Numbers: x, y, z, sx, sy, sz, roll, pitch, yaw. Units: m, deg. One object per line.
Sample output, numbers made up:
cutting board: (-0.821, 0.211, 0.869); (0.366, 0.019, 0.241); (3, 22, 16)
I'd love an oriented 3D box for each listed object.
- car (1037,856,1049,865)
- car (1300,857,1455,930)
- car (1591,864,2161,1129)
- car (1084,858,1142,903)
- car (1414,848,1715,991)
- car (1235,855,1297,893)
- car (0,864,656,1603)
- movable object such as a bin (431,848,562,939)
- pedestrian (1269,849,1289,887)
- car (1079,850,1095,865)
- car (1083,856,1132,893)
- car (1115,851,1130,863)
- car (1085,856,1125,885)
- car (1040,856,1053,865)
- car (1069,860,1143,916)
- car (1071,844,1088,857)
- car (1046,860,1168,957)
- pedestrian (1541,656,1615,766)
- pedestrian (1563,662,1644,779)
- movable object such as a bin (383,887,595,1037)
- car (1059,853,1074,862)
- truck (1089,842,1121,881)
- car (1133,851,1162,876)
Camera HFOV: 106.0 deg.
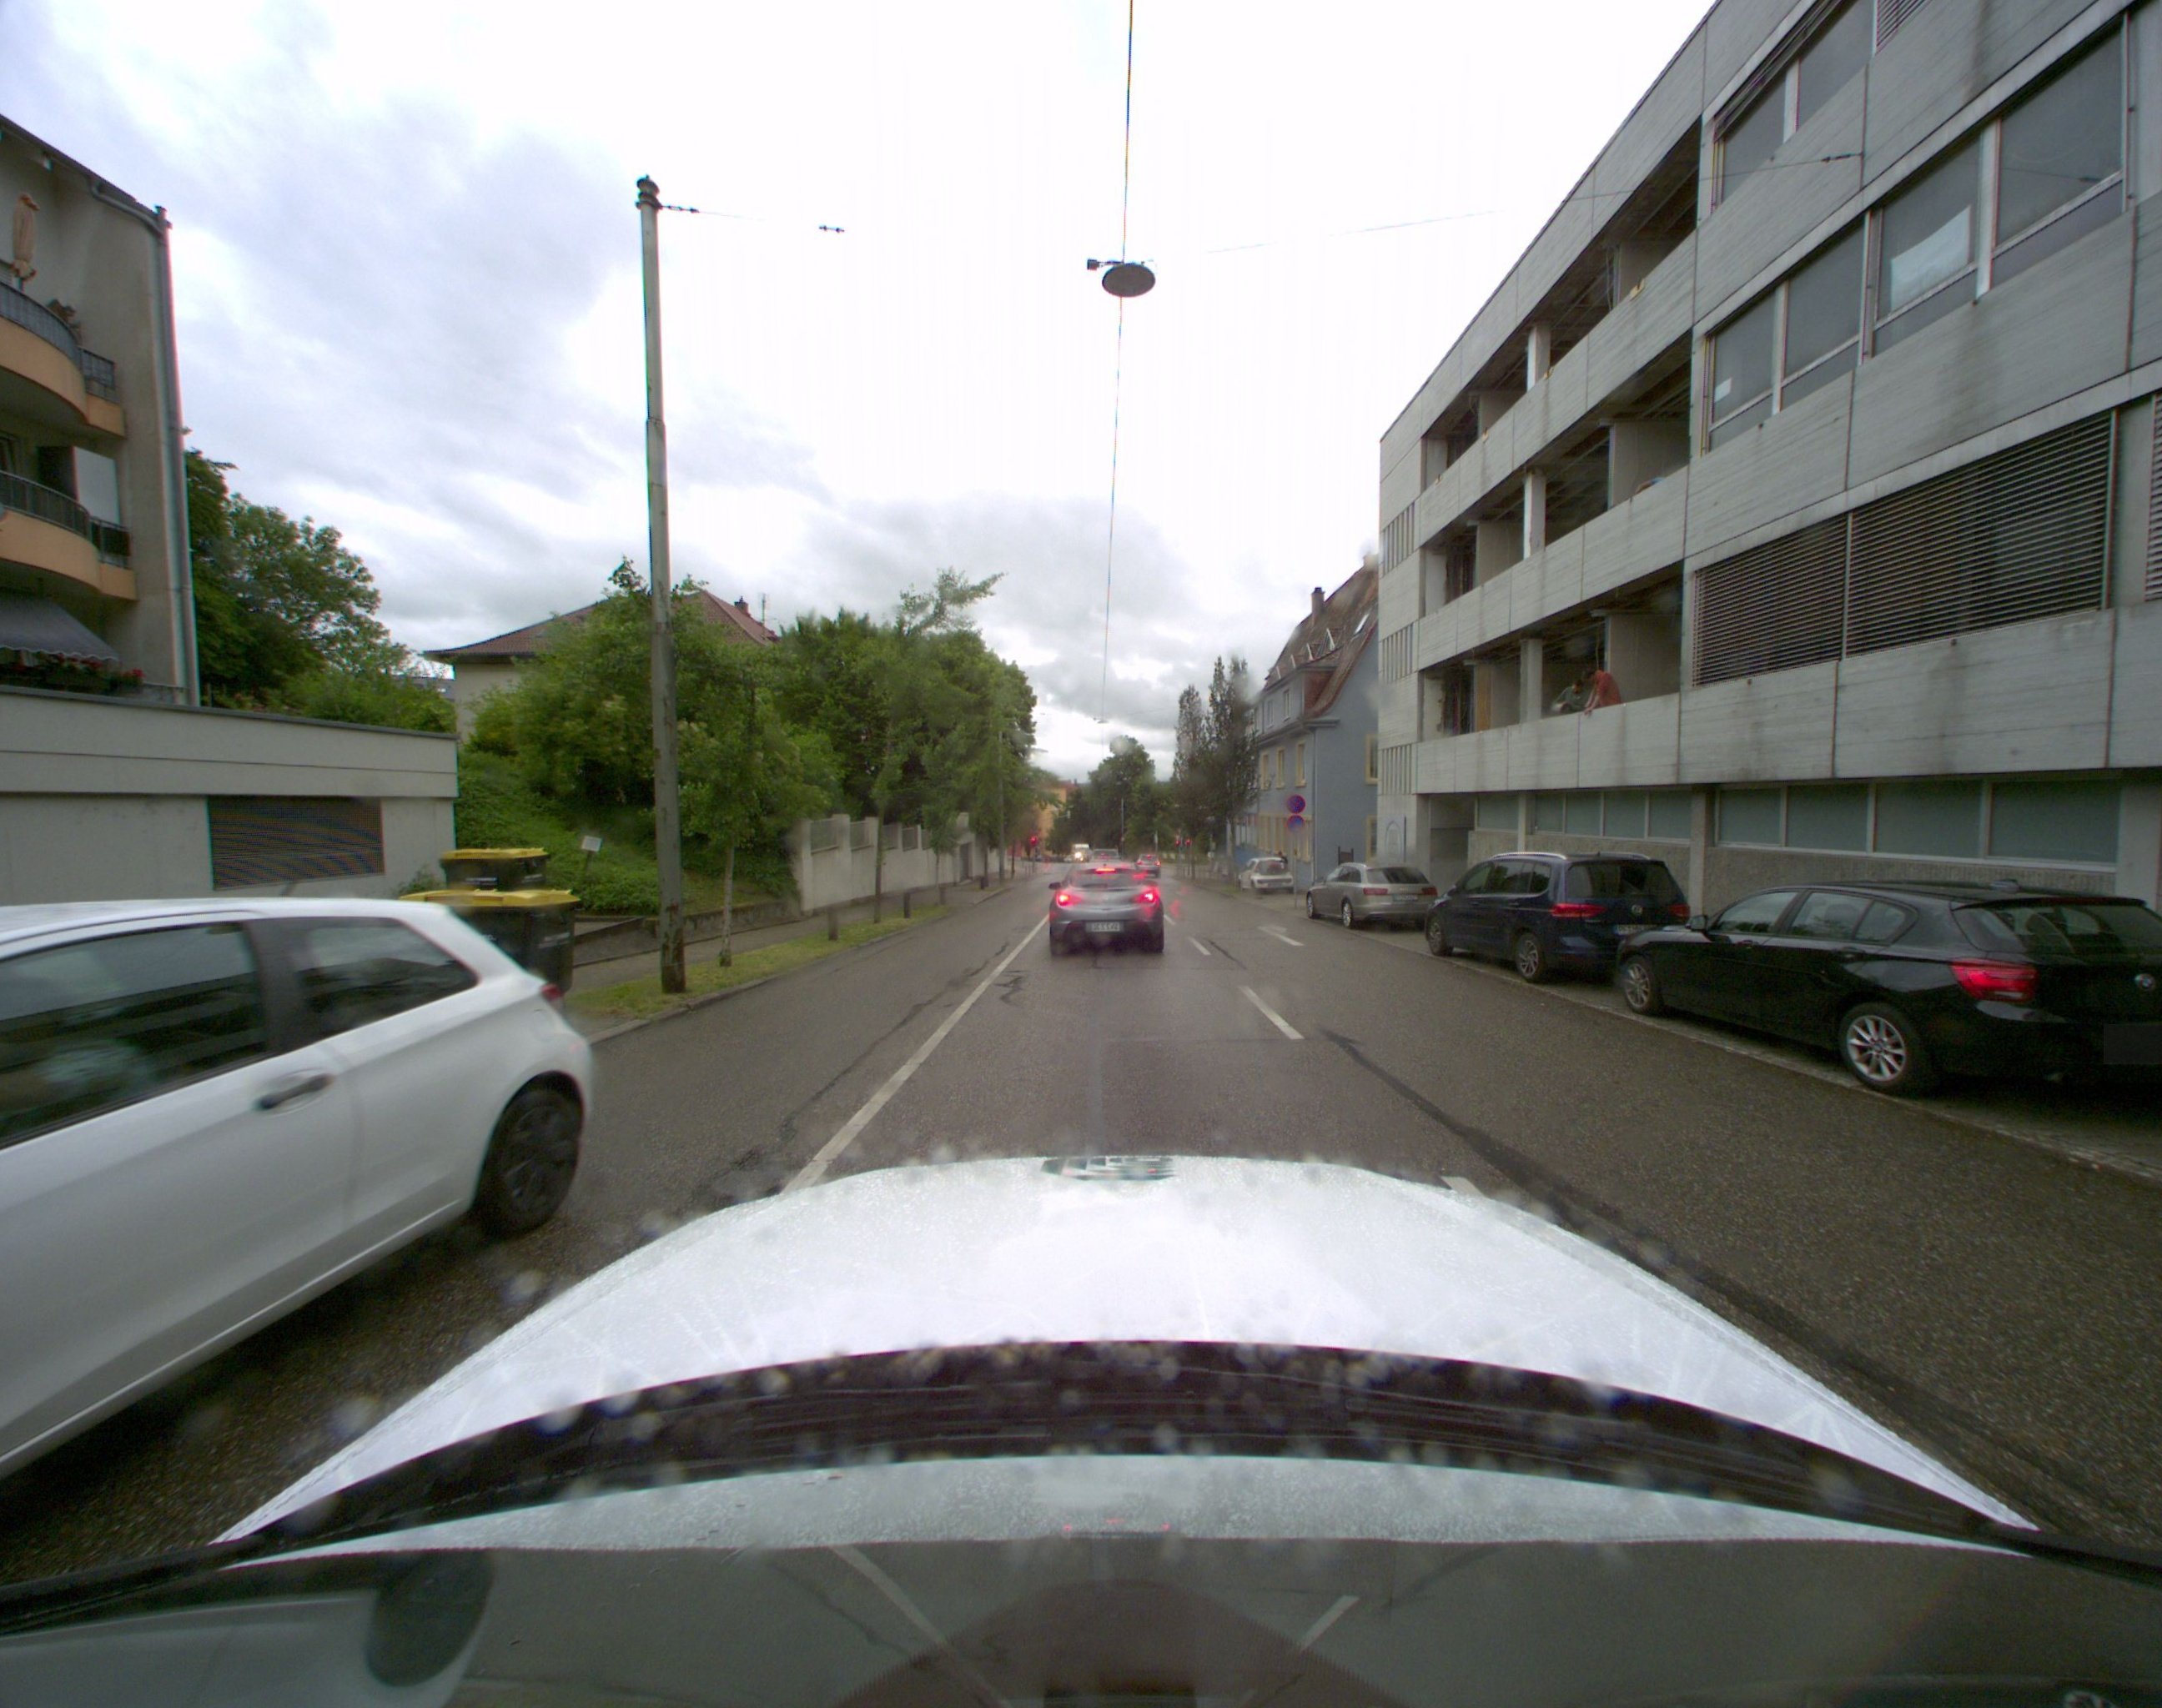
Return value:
car: (-7.082, 1.300, 150.576); (1.722, 1.638, 3.867); (0, -1, -9)
car: (6.738, 0.818, 19.061); (1.956, 1.448, 4.525); (-1, 0, 0)
car: (6.360, 0.853, 6.818); (1.740, 1.448, 4.256); (-2, 0, 4)
car: (1.102, 0.901, 29.431); (1.955, 1.448, 4.305); (0, 0, 0)
car: (6.420, 0.755, 11.455); (1.723, 1.599, 4.160); (-1, 0, 0)
car: (7.638, 0.786, 33.933); (1.717, 1.448, 3.880); (-2, 0, 0)
car: (-3.157, 0.868, 2.339); (1.703, 1.531, 3.843); (-4, 0, 1)
movable object such as a bin: (-9.913, 0.633, 13.893); (1.296, 1.363, 1.225); (0, 6, -6)
pedestrian: (9.042, 0.619, 37.176); (0.780, 1.729, 0.651); (0, 0, 1)
car: (0.756, 0.403, 98.047); (1.864, 1.638, 3.880); (-2, 0, 0)
car: (1.092, 0.841, 34.816); (1.955, 1.448, 4.305); (0, 0, 0)
car: (5.809, 0.374, 114.243); (1.718, 1.638, 3.877); (-2, 0, -2)
car: (1.211, 0.818, 42.479); (1.955, 1.448, 4.305); (0, 0, 0)
car: (-7.005, 1.270, 163.749); (1.726, 1.638, 3.858); (-2, 0, -16)
car: (0.680, 0.920, 23.715); (1.955, 1.448, 4.305); (0, 0, 0)
car: (-0.189, -0.458, 105.718); (1.721, 1.638, 3.870); (-2, 0, -7)
car: (0.392, 0.840, 14.294); (1.831, 1.434, 3.879); (-1, 0, 0)
pedestrian: (9.812, -2.808, 16.117); (0.904, 2.014, 0.861); (-1, -1, 1)
pedestrian: (9.632, -2.434, 15.043); (0.904, 2.014, 0.861); (-1, -1, 1)
movable object such as a bin: (-5.851, 1.023, 8.172); (1.296, 1.306, 1.153); (0, 0, -7)
car: (-2.610, 0.668, 144.882); (1.726, 1.543, 3.858); (-2, 0, -16)
truck: (1.522, 0.451, 52.482); (1.955, 2.429, 4.936); (0, 0, 1)
car: (4.906, 0.699, 60.443); (1.717, 1.714, 3.879); (-2, 0, 0)
